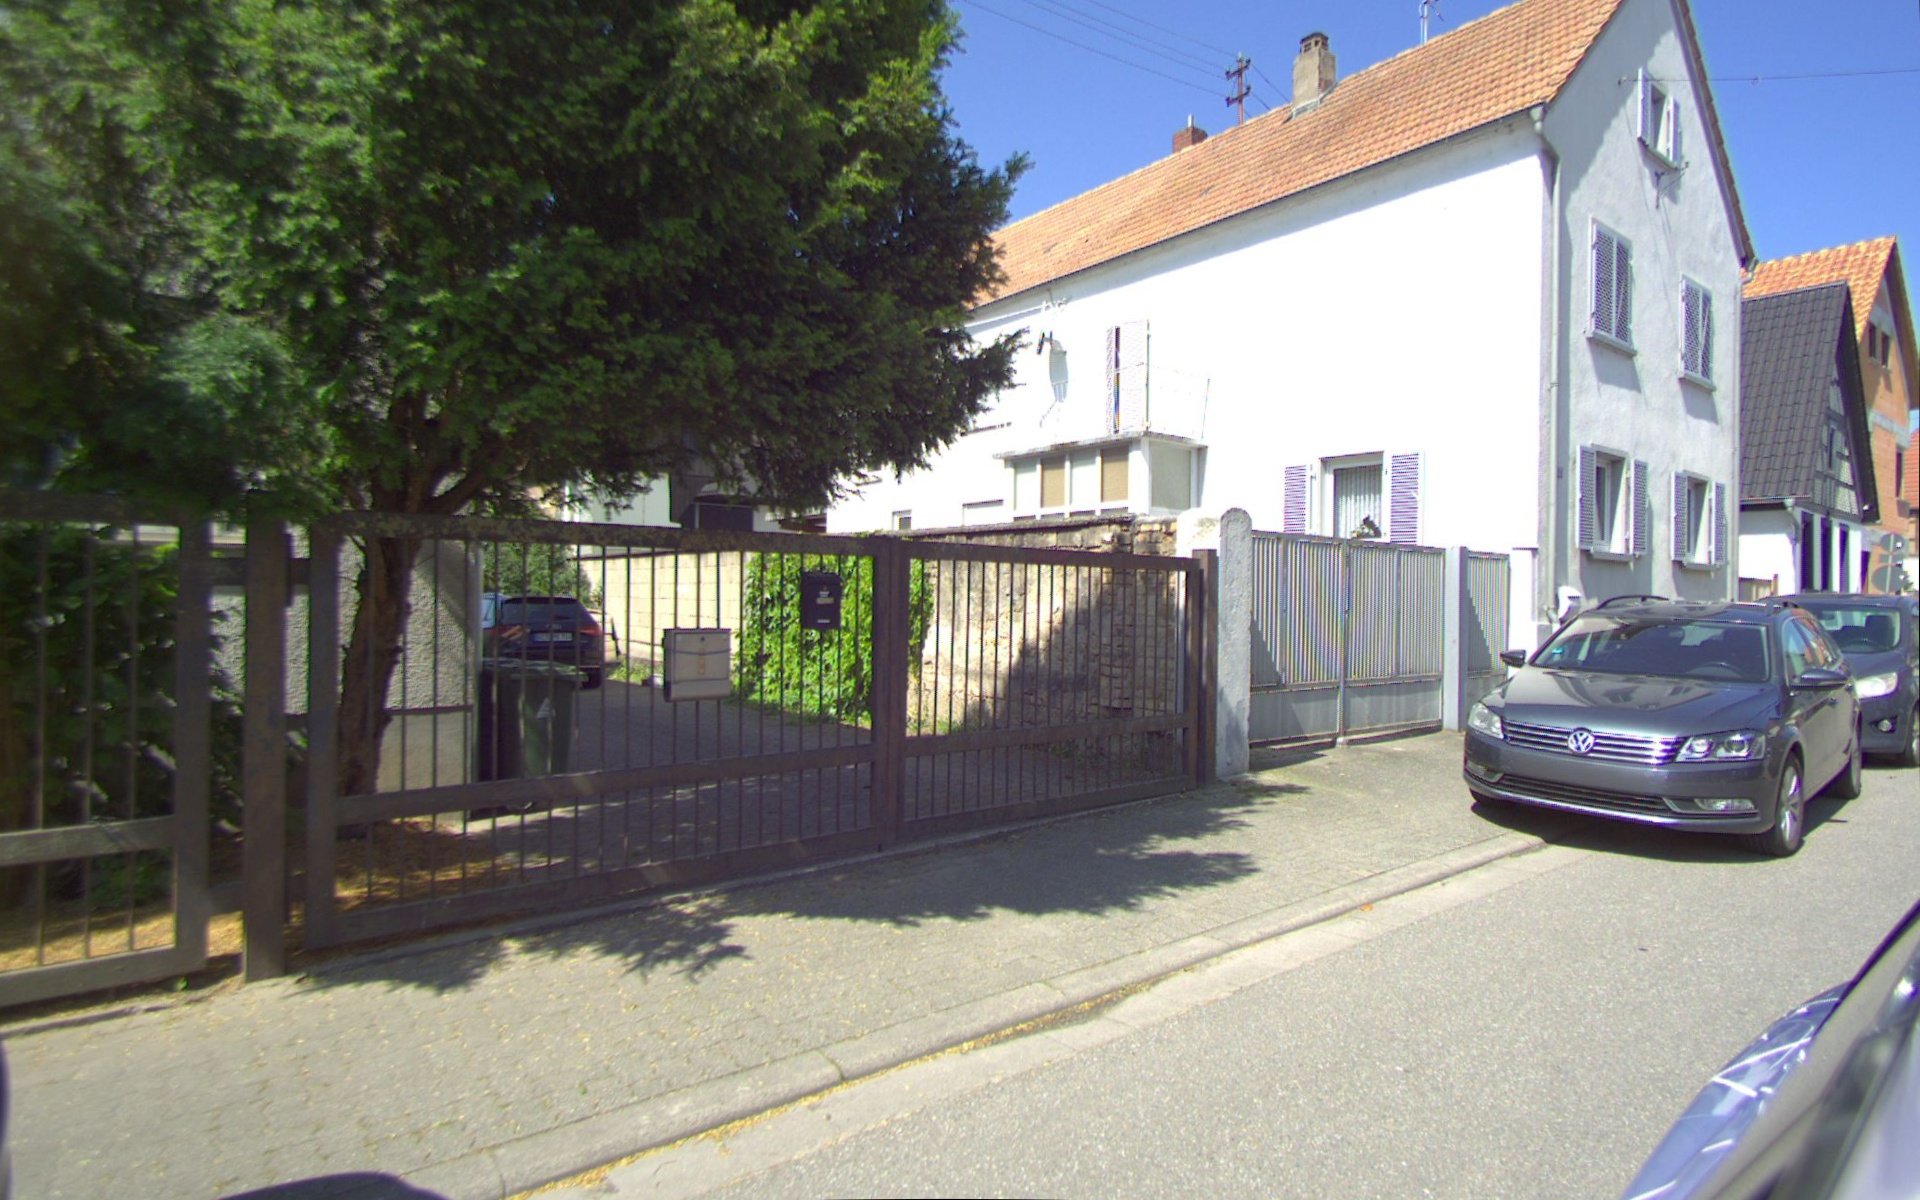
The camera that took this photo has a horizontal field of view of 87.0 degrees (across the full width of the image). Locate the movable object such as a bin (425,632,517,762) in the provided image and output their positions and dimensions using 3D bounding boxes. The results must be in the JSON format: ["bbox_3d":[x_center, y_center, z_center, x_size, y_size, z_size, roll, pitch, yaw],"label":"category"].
[{"bbox_3d":[-3.957,0.763,8.193,0.556,0.977,0.515,0,-1,-41],"label":"movable object such as a bin"}]

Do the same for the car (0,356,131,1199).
[{"bbox_3d":[-2.976,0.605,0.186,4.280,1.651,1.798,1,0,-38],"label":"car"}]

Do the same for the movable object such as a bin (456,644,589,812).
[{"bbox_3d":[-2.912,0.809,6.713,0.559,0.961,0.884,1,1,-41],"label":"movable object such as a bin"}]

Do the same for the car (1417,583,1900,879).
[{"bbox_3d":[5.282,0.667,7.388,4.501,1.527,1.823,0,0,-41],"label":"car"}]

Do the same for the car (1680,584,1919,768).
[{"bbox_3d":[9.482,0.641,10.773,4.547,1.580,1.802,0,0,-39],"label":"car"}]

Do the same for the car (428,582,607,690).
[{"bbox_3d":[-6.767,0.534,15.285,1.529,1.425,3.630,0,-2,-40],"label":"car"}]

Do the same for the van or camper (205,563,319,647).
[{"bbox_3d":[-19.069,0.119,27.588,1.967,2.106,3.990,0,0,-44],"label":"van or camper"}]

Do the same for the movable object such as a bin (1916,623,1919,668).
[{"bbox_3d":[20.207,0.952,20.860,0.540,0.925,0.541,0,0,-22],"label":"movable object such as a bin"}]

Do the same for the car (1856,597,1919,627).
[{"bbox_3d":[48.912,0.626,51.372,1.959,1.470,4.774,0,0,-28],"label":"car"}]
